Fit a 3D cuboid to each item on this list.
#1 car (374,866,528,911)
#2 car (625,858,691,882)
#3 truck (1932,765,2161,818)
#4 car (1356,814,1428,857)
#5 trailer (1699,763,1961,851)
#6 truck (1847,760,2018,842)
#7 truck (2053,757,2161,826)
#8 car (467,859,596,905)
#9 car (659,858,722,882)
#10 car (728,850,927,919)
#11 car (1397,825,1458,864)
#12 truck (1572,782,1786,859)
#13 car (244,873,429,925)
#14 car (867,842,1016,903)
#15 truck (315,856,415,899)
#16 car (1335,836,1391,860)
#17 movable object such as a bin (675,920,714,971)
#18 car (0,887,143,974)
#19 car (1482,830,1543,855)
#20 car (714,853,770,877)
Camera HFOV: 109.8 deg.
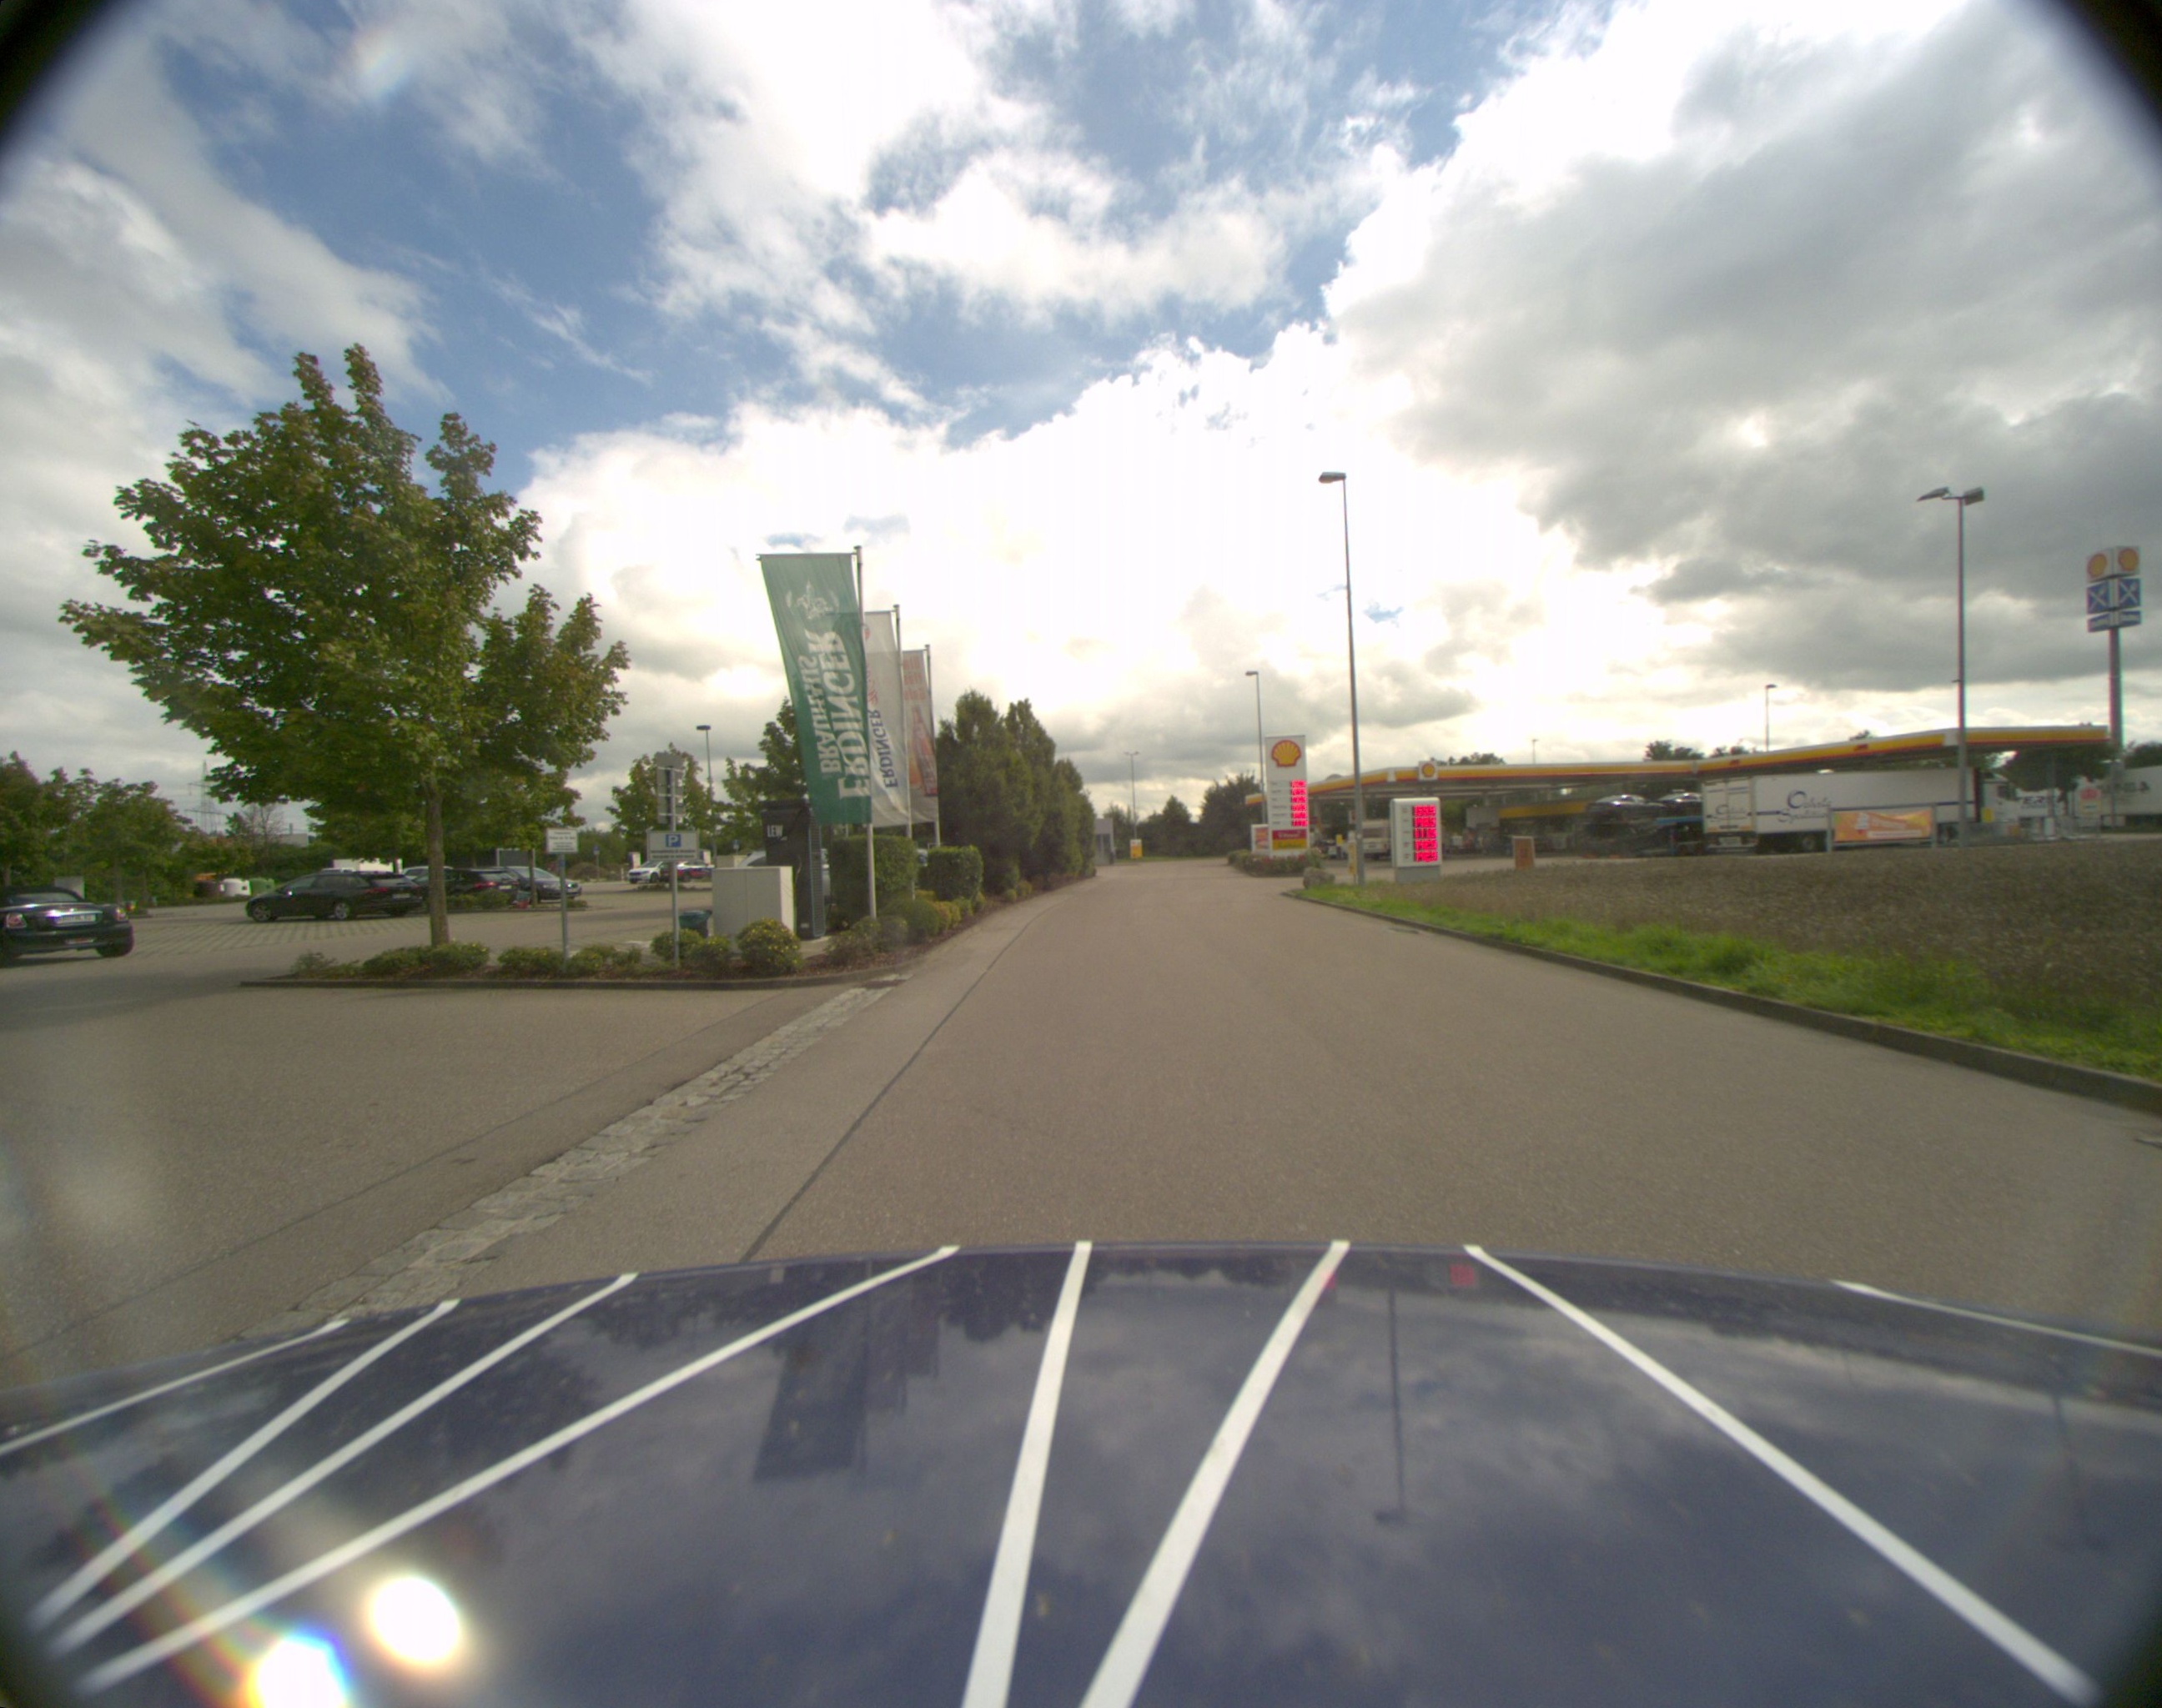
[{"bbox_3d":[-22.350,1.211,27.004,4.270,1.338,1.722,-2,0,8],"label":"car"},{"bbox_3d":[-30.712,1.157,55.307,1.713,1.510,4.005,-2,1,18],"label":"car"},{"bbox_3d":[88.180,-5.585,69.816,12.977,3.871,2.829,-1,2,36],"label":"truck"},{"bbox_3d":[21.743,-1.306,53.023,5.819,2.770,2.218,-3,1,-41],"label":"car"},{"bbox_3d":[39.349,-2.474,39.956,12.848,4.001,2.710,-3,1,-10],"label":"trailer"},{"bbox_3d":[45.982,-2.829,41.107,7.169,4.001,2.710,-3,1,-10],"label":"truck"},{"bbox_3d":[68.838,-3.997,49.324,2.955,4.089,14.774,-1,2,35],"label":"truck"},{"bbox_3d":[-21.350,1.090,29.560,3.992,1.562,2.002,-3,0,18],"label":"car"},{"bbox_3d":[-28.190,1.099,54.973,1.603,1.510,4.005,-2,1,18],"label":"car"},{"bbox_3d":[-6.713,0.797,20.317,4.672,1.687,1.920,-1,2,12],"label":"car"},{"bbox_3d":[19.277,-0.555,42.202,1.791,2.000,3.889,-2,0,44],"label":"car"},{"bbox_3d":[34.928,-2.003,44.226,13.266,3.902,2.747,-3,2,-17],"label":"truck"},{"bbox_3d":[-22.689,1.348,23.218,4.270,1.338,1.722,-2,0,8],"label":"car"},{"bbox_3d":[-4.442,0.582,24.524,4.358,1.706,1.658,-3,1,8],"label":"car"},{"bbox_3d":[-73.825,2.304,78.616,1.998,4.097,8.548,-3,1,1],"label":"truck"},{"bbox_3d":[21.083,-0.449,56.738,3.968,1.550,1.995,-3,0,-37],"label":"car"},{"bbox_3d":[-5.502,1.295,10.826,0.288,0.680,0.368,-2,1,12],"label":"movable object such as a bin"},{"bbox_3d":[-19.305,1.365,13.589,3.368,1.343,1.630,-2,1,8],"label":"car"},{"bbox_3d":[31.069,-0.798,54.818,1.717,1.592,3.757,-3,0,-13],"label":"car"},{"bbox_3d":[-24.650,0.782,55.335,1.720,1.605,4.002,-3,1,9],"label":"car"}]
